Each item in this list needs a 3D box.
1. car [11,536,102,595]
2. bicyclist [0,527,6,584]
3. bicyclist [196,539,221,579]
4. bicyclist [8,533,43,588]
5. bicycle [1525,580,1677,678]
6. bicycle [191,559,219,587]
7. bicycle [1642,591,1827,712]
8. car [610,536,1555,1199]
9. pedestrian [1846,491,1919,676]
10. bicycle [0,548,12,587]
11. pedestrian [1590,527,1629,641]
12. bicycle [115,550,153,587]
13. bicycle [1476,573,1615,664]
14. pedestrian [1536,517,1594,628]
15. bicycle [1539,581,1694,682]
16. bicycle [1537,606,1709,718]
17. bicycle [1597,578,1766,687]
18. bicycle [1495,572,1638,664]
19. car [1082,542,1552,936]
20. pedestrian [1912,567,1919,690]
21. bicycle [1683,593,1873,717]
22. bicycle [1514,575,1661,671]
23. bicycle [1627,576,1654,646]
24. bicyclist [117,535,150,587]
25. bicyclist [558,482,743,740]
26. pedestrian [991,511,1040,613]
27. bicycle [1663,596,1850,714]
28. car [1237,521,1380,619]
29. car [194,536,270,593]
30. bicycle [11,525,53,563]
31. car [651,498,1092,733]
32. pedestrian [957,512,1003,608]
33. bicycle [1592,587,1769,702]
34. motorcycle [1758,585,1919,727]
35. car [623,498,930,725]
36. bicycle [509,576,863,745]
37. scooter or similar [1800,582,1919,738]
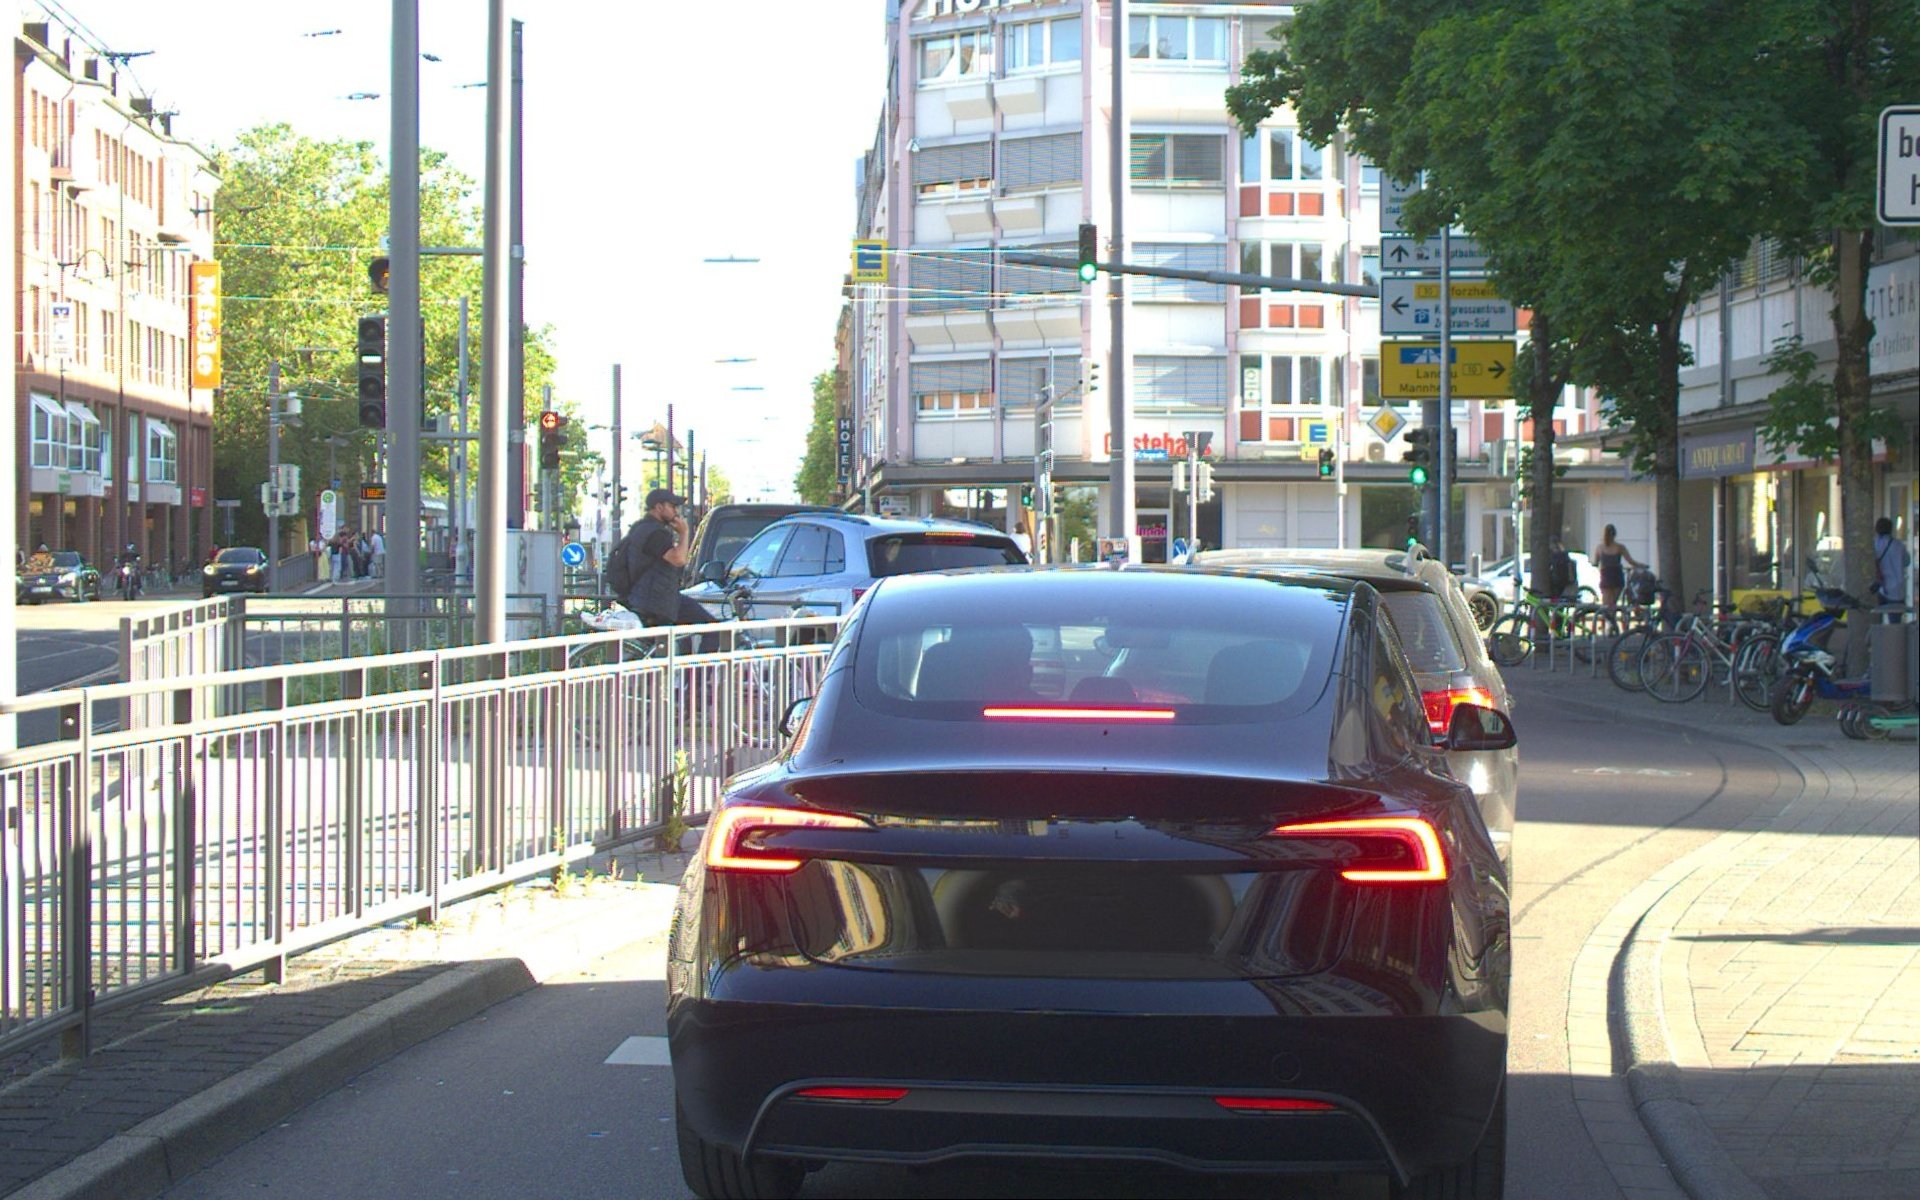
[{"bbox_3d":[-24.221,-0.931,92.256,1.710,1.521,4.037,1,1,-5],"label":"car"},{"bbox_3d":[-26.783,-1.231,94.749,0.784,1.558,0.746,0,1,2],"label":"bicyclist"},{"bbox_3d":[-29.302,-1.598,133.979,0.784,1.558,0.746,1,0,2],"label":"bicyclist"},{"bbox_3d":[-26.688,-1.141,98.212,0.784,1.558,0.746,0,1,2],"label":"bicyclist"},{"bbox_3d":[7.330,0.330,39.334,1.650,1.095,0.350,1,0,1],"label":"bicycle"},{"bbox_3d":[-29.357,-1.064,133.771,0.529,1.085,2.224,1,1,1],"label":"bicycle"},{"bbox_3d":[7.182,0.477,31.879,1.649,1.095,0.350,1,0,-10],"label":"bicycle"},{"bbox_3d":[0.382,0.595,8.718,1.829,1.450,3.999,1,1,4],"label":"car"},{"bbox_3d":[10.145,-0.185,37.743,0.662,2.007,0.579,1,0,2],"label":"pedestrian"},{"bbox_3d":[-26.743,-0.903,94.734,0.529,1.085,2.284,2,1,1],"label":"bicycle"},{"bbox_3d":[9.800,-0.248,51.854,0.526,1.704,0.403,1,0,16],"label":"pedestrian"},{"bbox_3d":[-24.616,-0.942,102.479,0.459,1.089,2.201,1,1,4],"label":"bicycle"},{"bbox_3d":[7.231,0.222,42.487,1.650,1.095,0.350,1,0,1],"label":"bicycle"},{"bbox_3d":[9.101,-0.414,51.729,0.699,1.656,0.777,1,0,-1],"label":"pedestrian"},{"bbox_3d":[7.310,0.343,38.307,1.650,1.095,0.350,1,0,1],"label":"bicycle"},{"bbox_3d":[6.598,0.614,34.229,1.649,1.095,0.350,1,0,-10],"label":"bicycle"},{"bbox_3d":[7.419,0.331,35.355,1.650,1.095,0.350,1,0,1],"label":"bicycle"},{"bbox_3d":[7.299,0.213,41.393,1.650,1.095,0.350,0,1,1],"label":"bicycle"},{"bbox_3d":[1.550,0.489,15.020,1.751,1.449,3.999,1,1,6],"label":"car"},{"bbox_3d":[10.680,0.316,37.596,0.389,1.339,0.513,1,0,2],"label":"pedestrian"},{"bbox_3d":[7.384,0.497,31.034,1.649,1.095,0.350,1,0,-10],"label":"bicycle"},{"bbox_3d":[7.362,0.270,40.347,1.650,1.095,0.350,1,0,1],"label":"bicycle"},{"bbox_3d":[10.184,0.155,51.448,0.332,1.030,1.256,1,0,9],"label":"bicycle"},{"bbox_3d":[-24.623,-1.158,102.396,0.785,1.522,0.589,1,0,4],"label":"bicyclist"},{"bbox_3d":[-2.004,0.064,22.215,0.758,1.623,0.978,0,1,-39],"label":"bicyclist"},{"bbox_3d":[1.102,-0.754,68.207,0.921,2.007,0.972,1,0,-1],"label":"pedestrian"},{"bbox_3d":[7.287,0.505,31.456,1.649,1.057,0.350,1,0,-10],"label":"bicycle"},{"bbox_3d":[5.992,-0.510,58.756,1.822,1.609,3.824,1,1,15],"label":"car"},{"bbox_3d":[-22.451,-1.095,106.088,1.697,1.725,3.707,1,1,-3],"label":"car"},{"bbox_3d":[-26.694,-1.605,98.925,0.529,1.085,2.284,1,1,1],"label":"bicycle"},{"bbox_3d":[-0.777,0.085,26.500,1.883,1.656,4.159,1,1,-25],"label":"car"},{"bbox_3d":[0.417,-0.842,72.851,0.921,2.007,0.972,1,0,-1],"label":"pedestrian"},{"bbox_3d":[7.000,0.434,33.407,1.649,1.095,0.350,1,0,-10],"label":"bicycle"},{"bbox_3d":[7.715,0.473,29.218,1.707,1.169,0.541,1,0,-2],"label":"motorcycle"},{"bbox_3d":[-1.814,0.078,32.587,1.993,2.007,4.001,0,1,-17],"label":"car"},{"bbox_3d":[-1.763,0.383,22.435,2.329,1.050,0.631,0,1,-38],"label":"bicycle"},{"bbox_3d":[7.558,0.473,27.196,1.644,1.211,0.644,1,0,30],"label":"scooter or similar"}]
